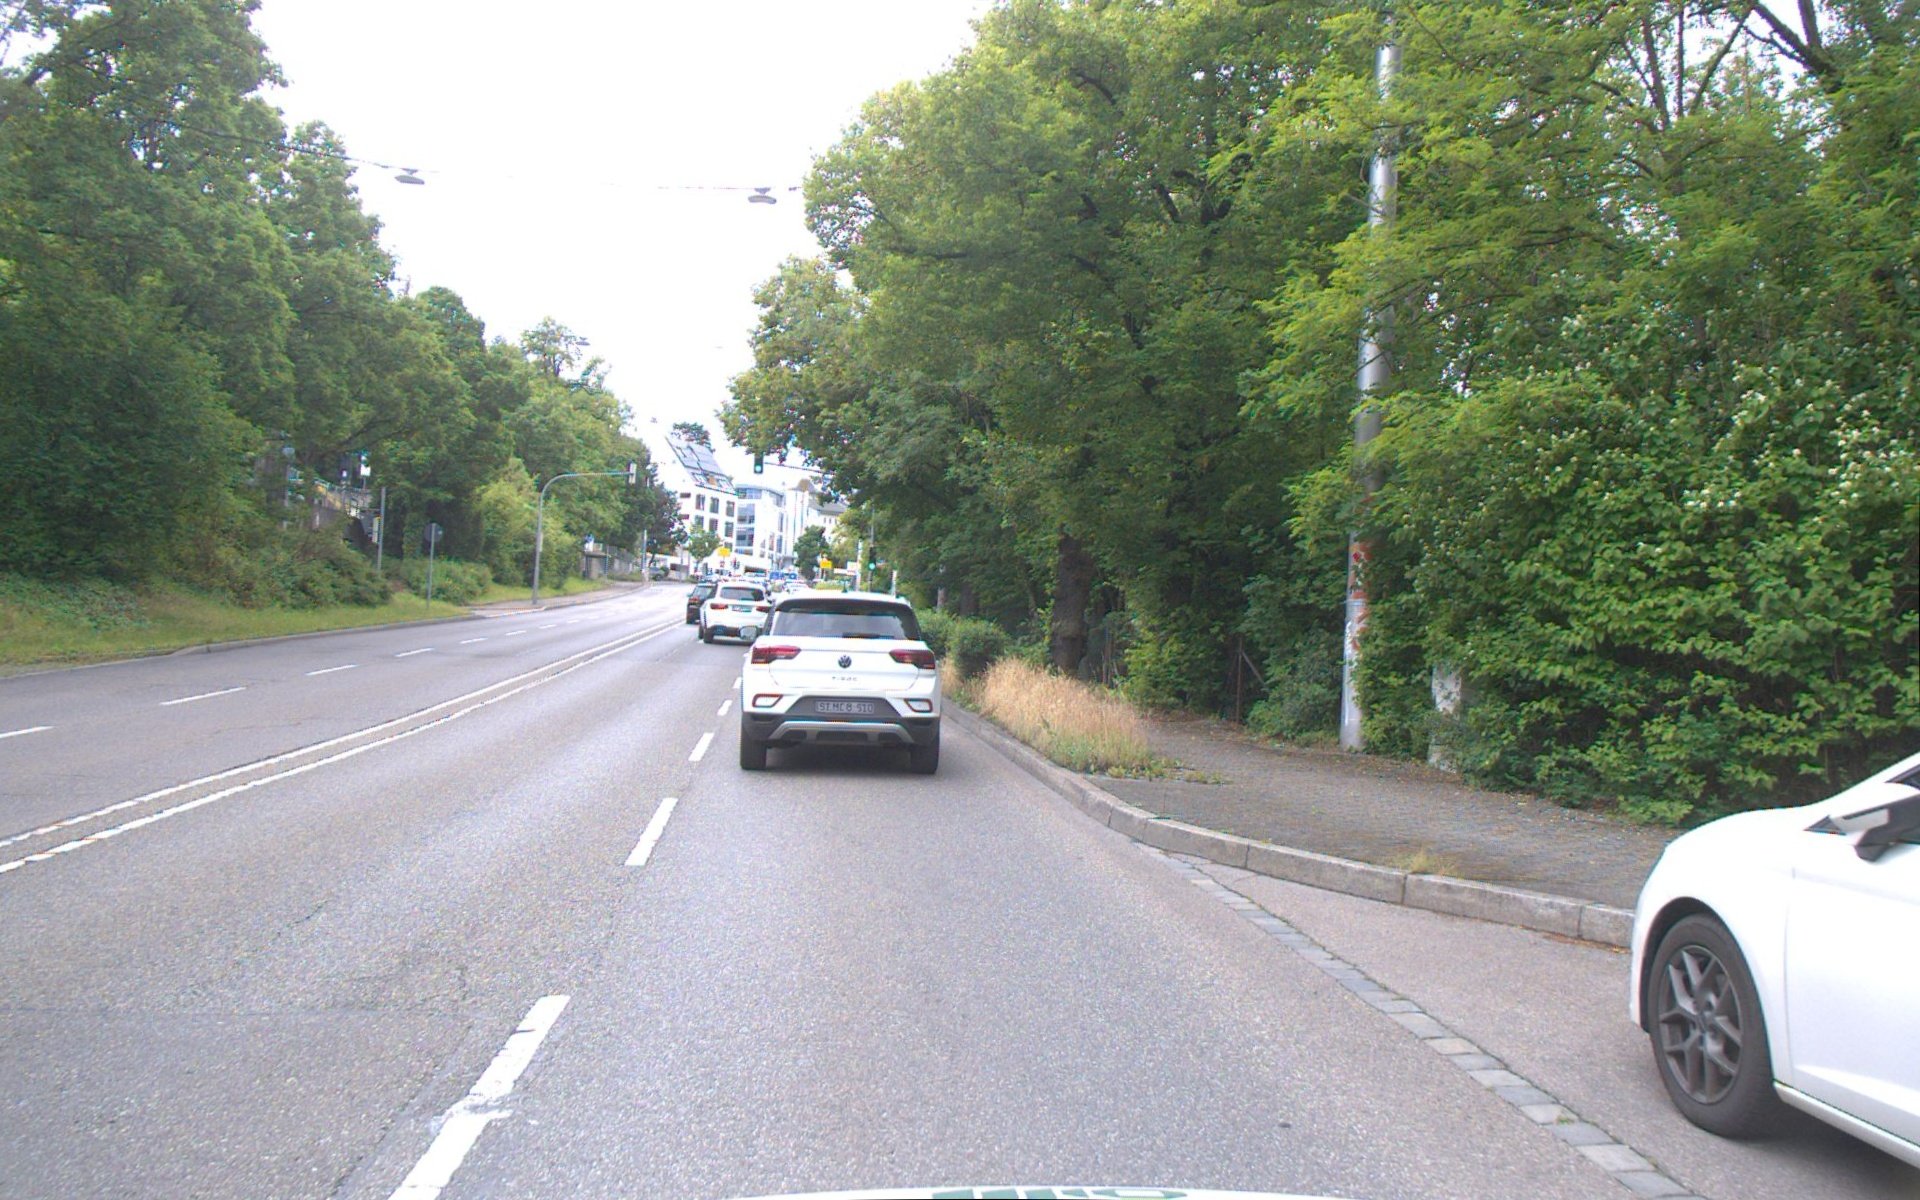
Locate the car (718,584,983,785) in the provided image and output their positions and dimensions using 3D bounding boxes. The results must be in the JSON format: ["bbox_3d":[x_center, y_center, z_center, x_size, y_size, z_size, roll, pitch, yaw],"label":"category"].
[{"bbox_3d":[-1.174,0.692,15.633,1.965,1.624,3.988,0,0,-12],"label":"car"}]

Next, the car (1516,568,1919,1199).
[{"bbox_3d":[3.100,0.723,3.809,1.699,1.508,4.697,2,1,-5],"label":"car"}]

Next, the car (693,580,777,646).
[{"bbox_3d":[-6.209,0.382,45.310,1.820,1.733,3.984,1,-1,-14],"label":"car"}]

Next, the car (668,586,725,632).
[{"bbox_3d":[-9.689,0.299,60.851,1.913,1.491,3.992,2,1,-9],"label":"car"}]
